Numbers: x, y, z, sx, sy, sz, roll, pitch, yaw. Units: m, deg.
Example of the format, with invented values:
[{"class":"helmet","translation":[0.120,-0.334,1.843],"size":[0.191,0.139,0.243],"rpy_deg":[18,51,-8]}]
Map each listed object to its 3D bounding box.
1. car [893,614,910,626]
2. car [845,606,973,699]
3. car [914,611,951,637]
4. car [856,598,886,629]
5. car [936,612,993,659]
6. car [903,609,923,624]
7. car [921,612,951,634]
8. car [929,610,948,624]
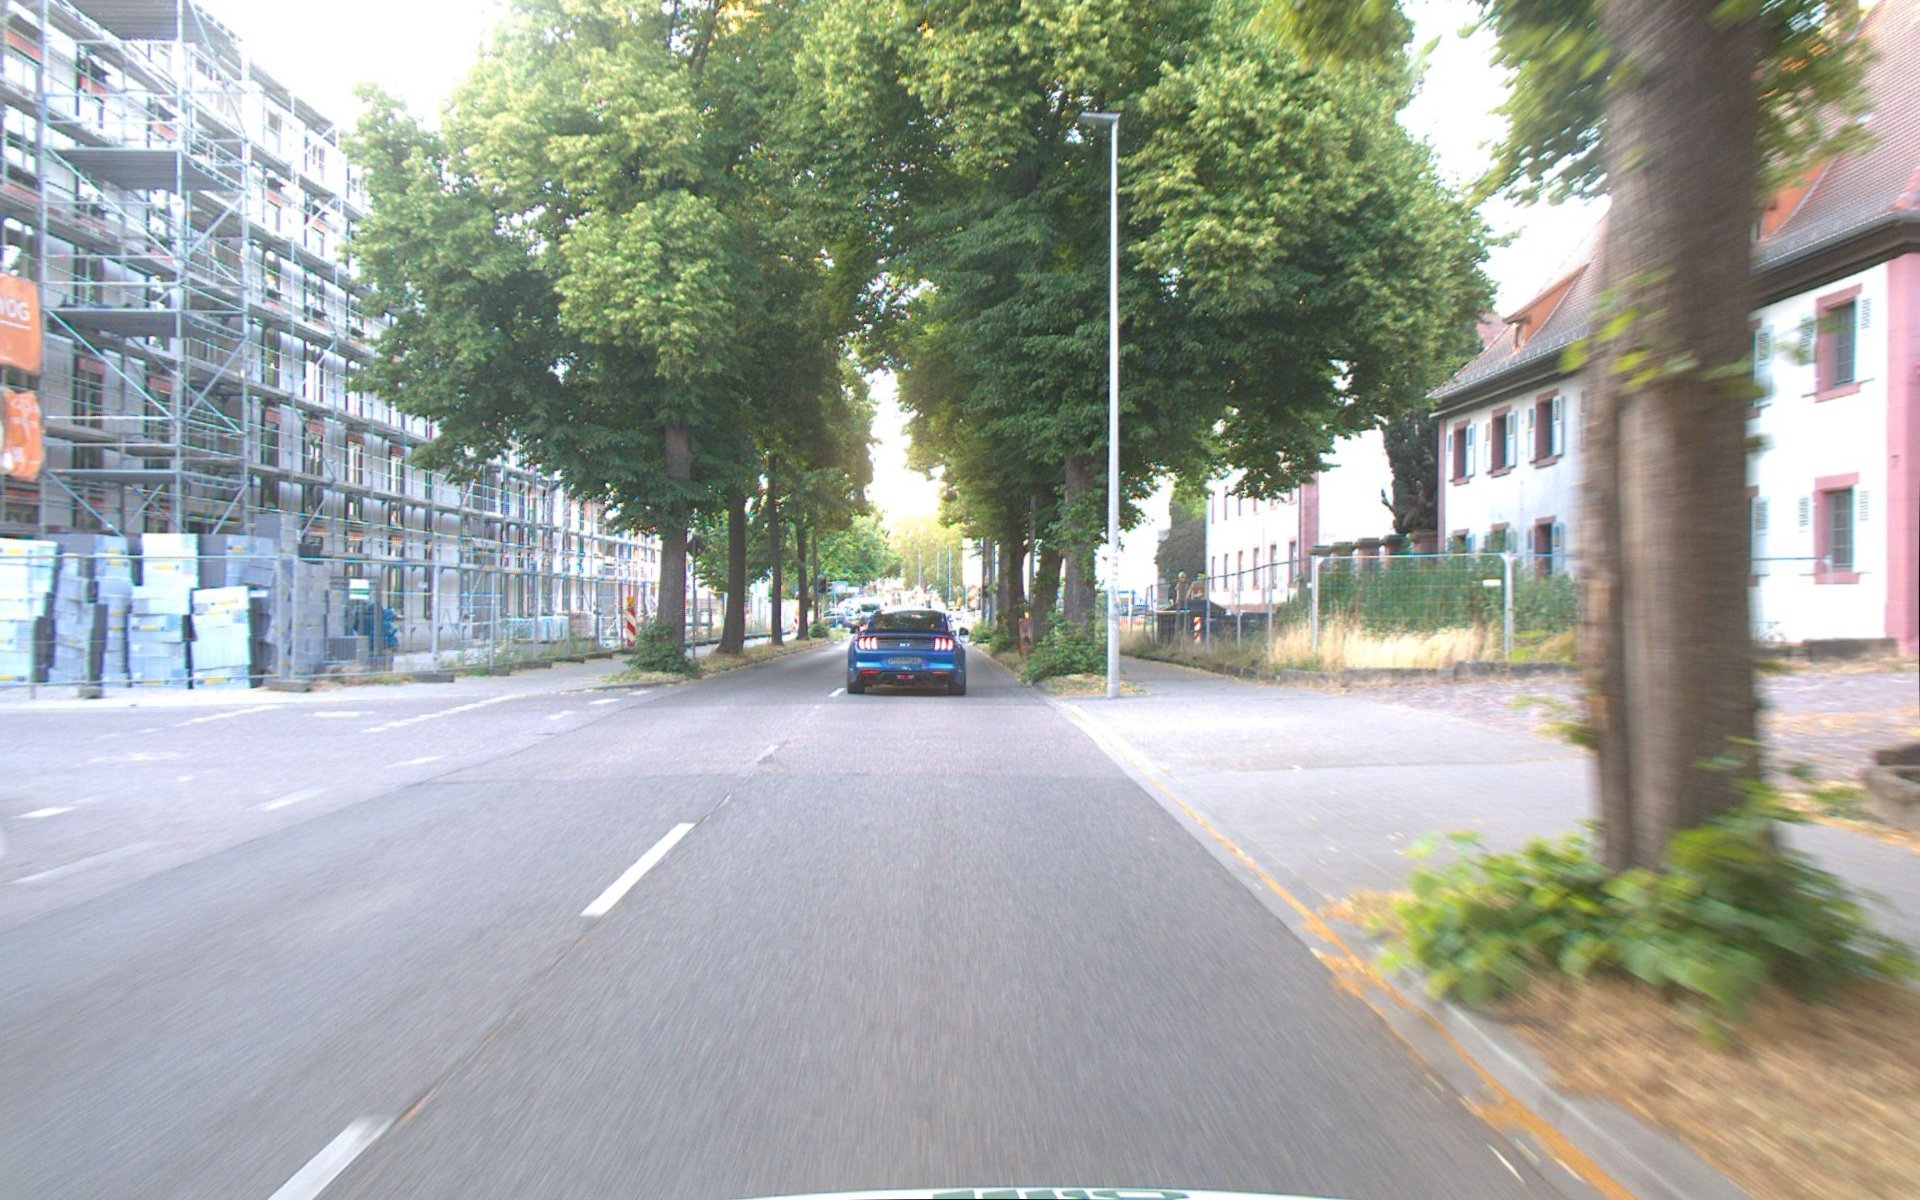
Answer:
[{"class":"car","translation":[-7.110,2.452,200.896],"size":[1.907,1.350,3.999],"rpy_deg":[2,0,-1]},{"class":"car","translation":[-0.811,0.809,27.179],"size":[1.907,1.350,3.999],"rpy_deg":[2,0,-1]},{"class":"car","translation":[-1.488,1.316,91.006],"size":[1.907,1.350,4.000],"rpy_deg":[2,0,1]},{"class":"car","translation":[-7.990,1.213,148.931],"size":[2.442,2.744,5.828],"rpy_deg":[0,0,-2]},{"class":"car","translation":[0.189,1.219,58.514],"size":[1.907,1.554,4.000],"rpy_deg":[2,0,1]},{"class":"car","translation":[-4.729,1.644,166.041],"size":[1.907,1.350,3.999],"rpy_deg":[2,0,-1]},{"class":"car","translation":[-1.610,1.536,110.516],"size":[1.907,1.350,3.999],"rpy_deg":[2,0,-1]},{"class":"car","translation":[-2.194,1.723,166.680],"size":[1.907,1.350,3.999],"rpy_deg":[2,0,-1]}]
